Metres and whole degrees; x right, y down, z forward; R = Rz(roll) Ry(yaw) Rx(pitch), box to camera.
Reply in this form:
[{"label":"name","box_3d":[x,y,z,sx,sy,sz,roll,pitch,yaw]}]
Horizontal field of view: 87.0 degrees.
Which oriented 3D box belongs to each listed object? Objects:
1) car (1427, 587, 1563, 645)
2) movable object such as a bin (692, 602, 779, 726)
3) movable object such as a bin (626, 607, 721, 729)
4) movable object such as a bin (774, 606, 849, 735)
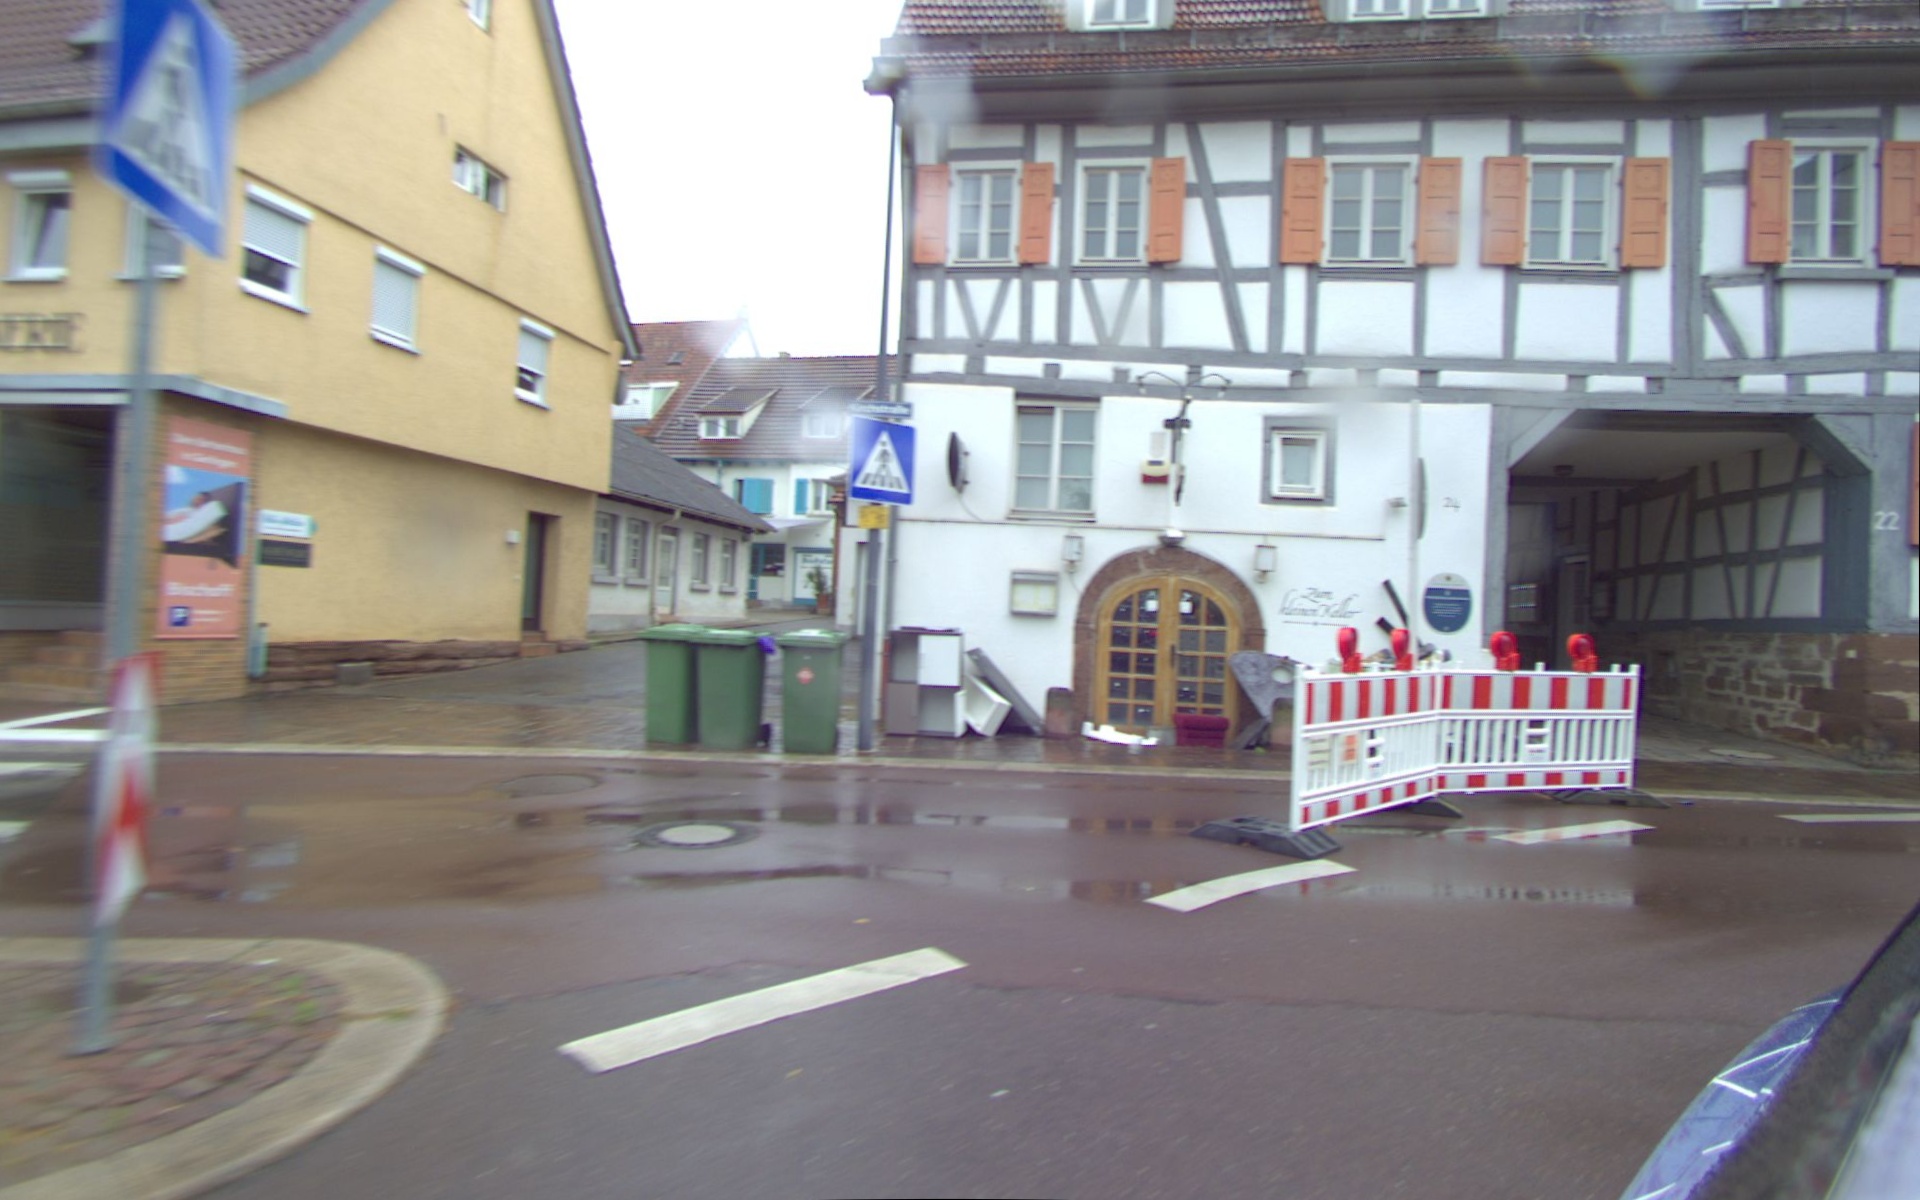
[{"label":"car","box_3d":[14.323,0.426,27.224,2.943,1.469,1.406,1,-1,15]},{"label":"movable object such as a bin","box_3d":[-2.051,0.564,9.297,0.533,1.079,0.614,0,0,21]},{"label":"movable object such as a bin","box_3d":[-2.688,0.611,9.522,0.579,1.079,0.676,0,0,20]},{"label":"movable object such as a bin","box_3d":[-1.335,0.617,9.168,0.529,1.079,0.681,4,0,-1]}]
